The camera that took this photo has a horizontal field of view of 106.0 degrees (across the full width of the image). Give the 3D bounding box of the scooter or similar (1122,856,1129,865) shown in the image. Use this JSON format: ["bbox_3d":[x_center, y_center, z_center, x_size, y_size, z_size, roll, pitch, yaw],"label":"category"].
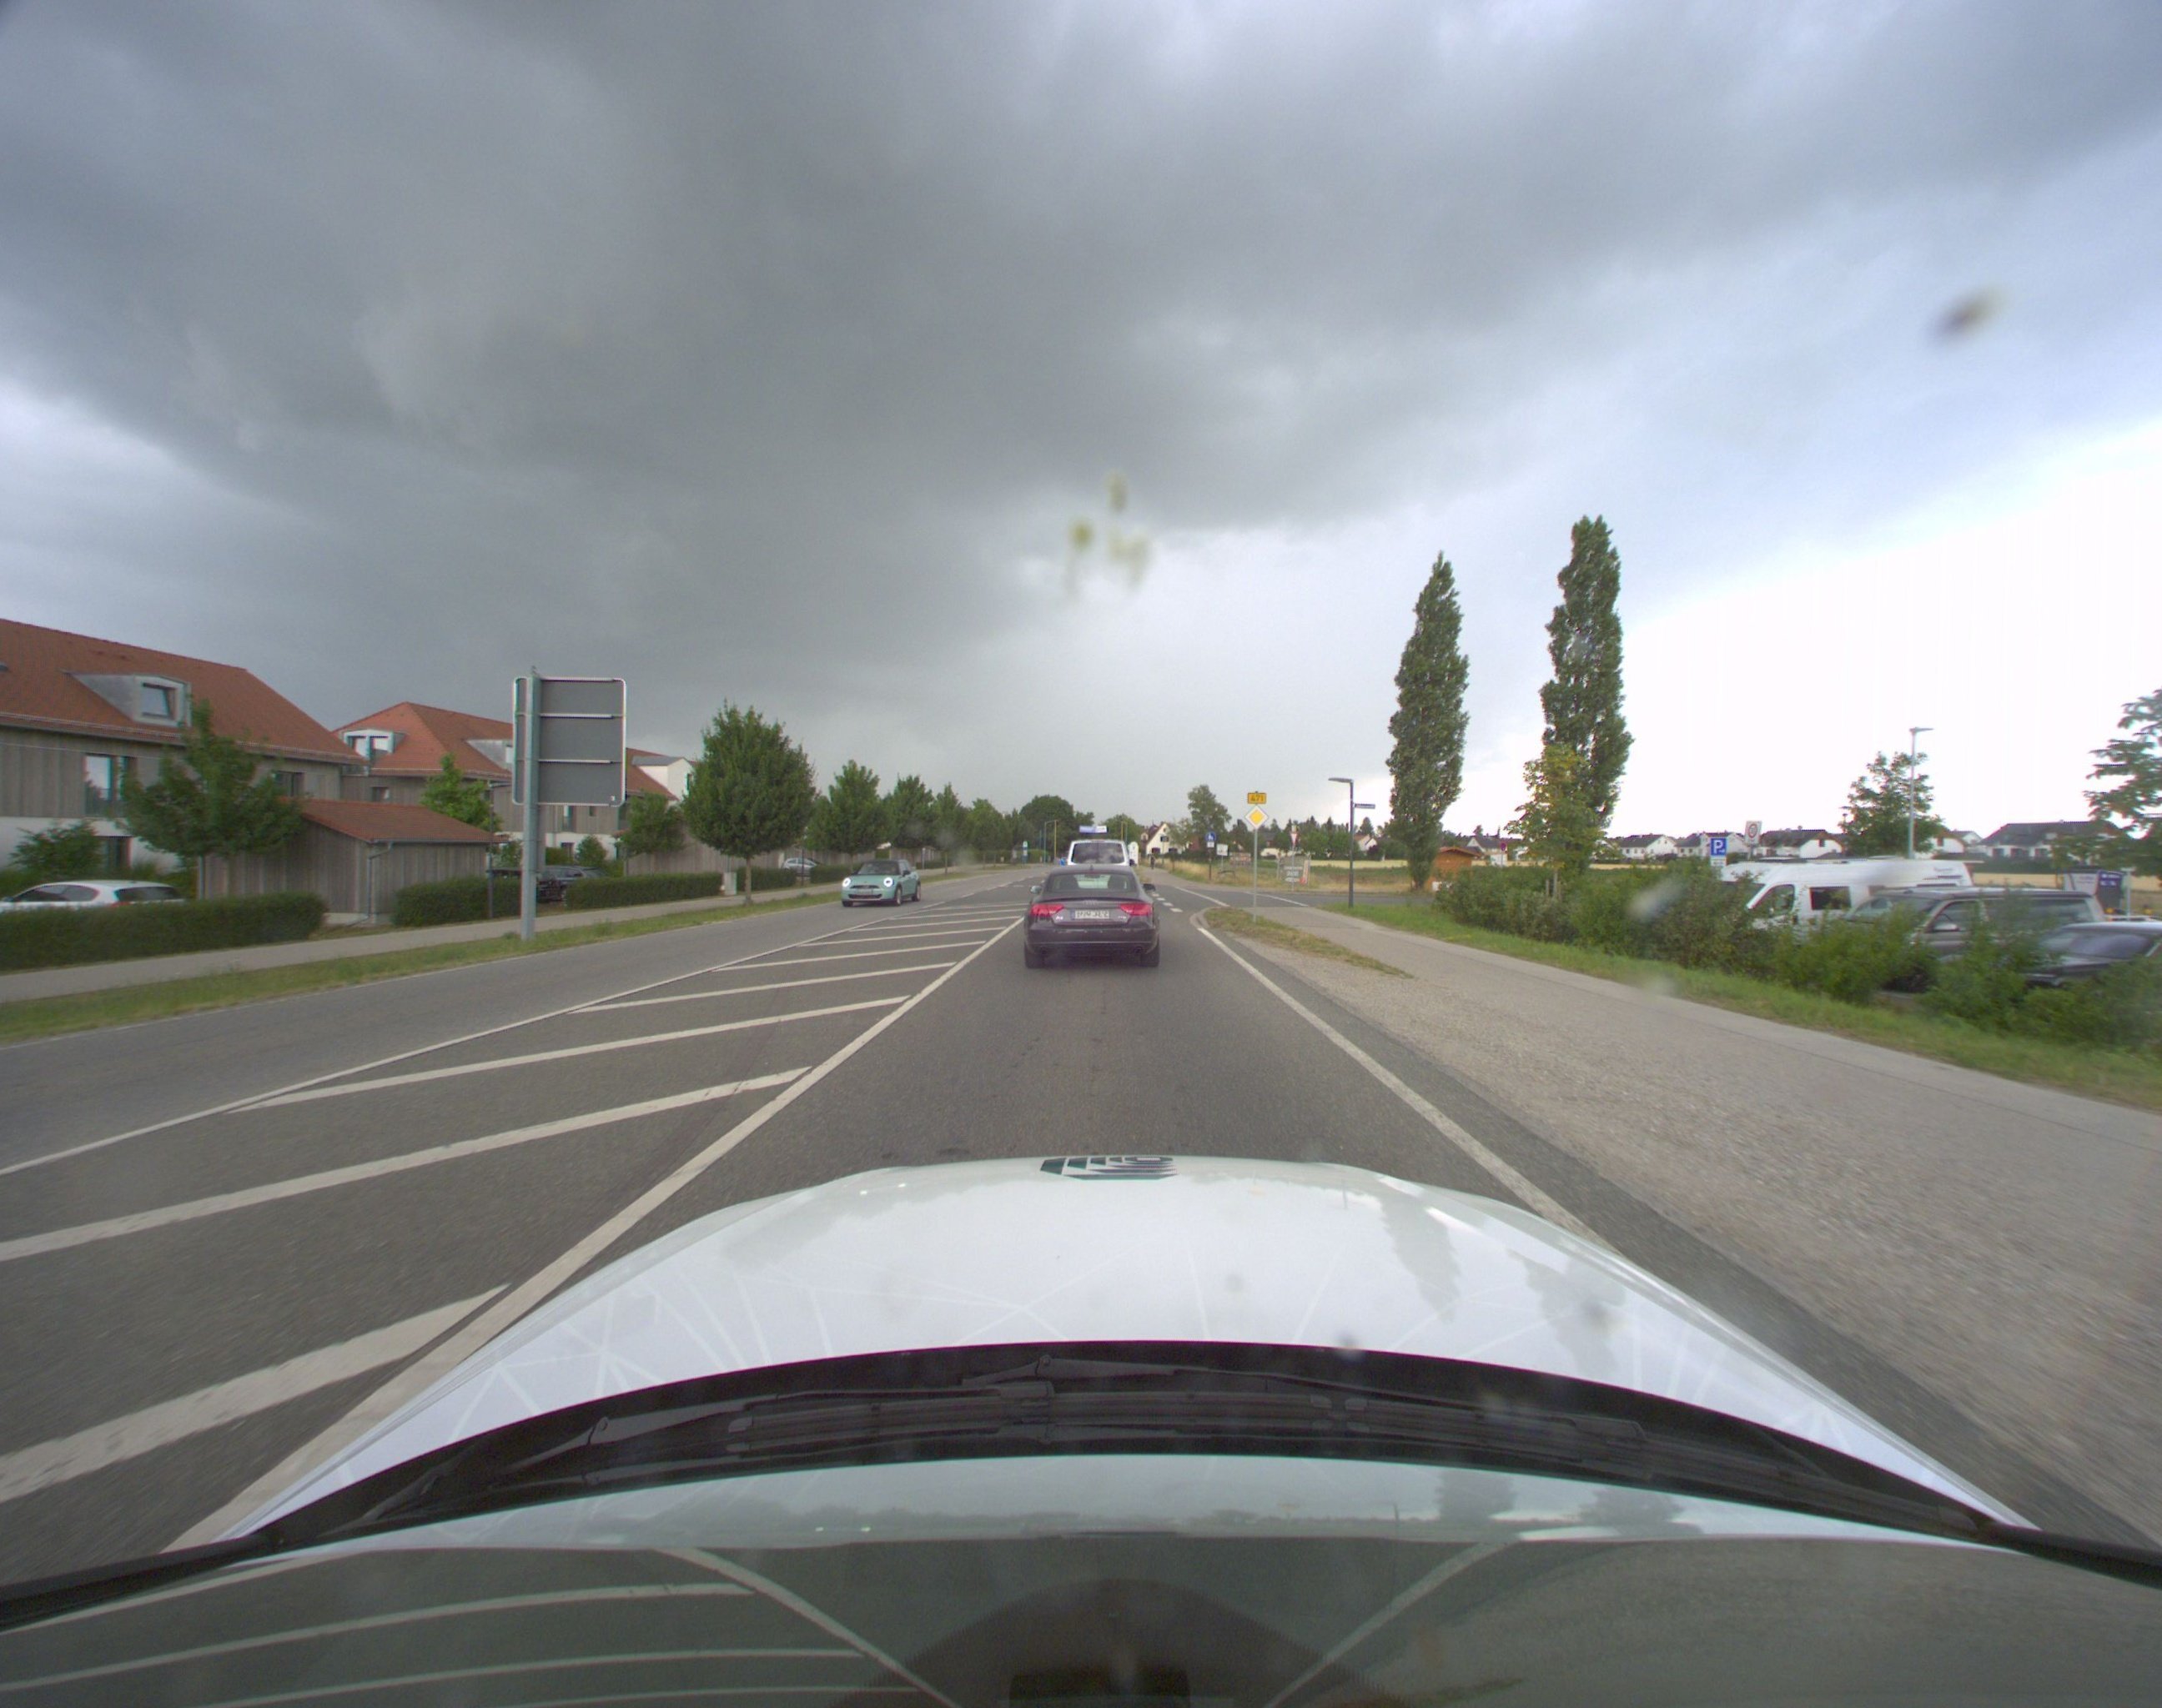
[{"bbox_3d":[5.760,0.814,105.622,0.845,1.103,1.094,-1,0,2],"label":"scooter or similar"}]

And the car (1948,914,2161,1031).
[{"bbox_3d":[17.761,1.880,13.439,5.079,1.598,1.758,-1,0,-1],"label":"car"}]

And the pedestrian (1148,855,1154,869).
[{"bbox_3d":[7.730,0.830,89.690,0.621,1.525,0.680,-1,0,1],"label":"pedestrian"}]

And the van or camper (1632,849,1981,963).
[{"bbox_3d":[17.250,1.180,19.622,6.447,2.464,2.280,-1,0,-1],"label":"van or camper"}]

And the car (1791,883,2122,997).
[{"bbox_3d":[17.493,1.666,16.459,4.579,2.013,2.000,-1,0,-1],"label":"car"}]

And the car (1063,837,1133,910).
[{"bbox_3d":[0.470,0.519,23.925,1.820,1.913,4.000,2,0,0],"label":"car"}]

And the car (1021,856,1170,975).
[{"bbox_3d":[0.091,0.757,12.252,1.821,1.388,4.383,-1,0,-3],"label":"car"}]

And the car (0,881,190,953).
[{"bbox_3d":[-23.035,1.425,18.665,3.501,1.489,1.564,-1,0,1],"label":"car"}]

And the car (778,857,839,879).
[{"bbox_3d":[-21.145,1.058,63.274,3.970,1.556,2.002,2,0,3],"label":"car"}]

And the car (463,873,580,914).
[{"bbox_3d":[-22.091,1.553,32.239,3.501,1.489,1.564,-1,0,1],"label":"car"}]

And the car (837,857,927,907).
[{"bbox_3d":[-6.272,0.836,26.140,1.763,1.443,4.002,-1,0,2],"label":"car"}]
